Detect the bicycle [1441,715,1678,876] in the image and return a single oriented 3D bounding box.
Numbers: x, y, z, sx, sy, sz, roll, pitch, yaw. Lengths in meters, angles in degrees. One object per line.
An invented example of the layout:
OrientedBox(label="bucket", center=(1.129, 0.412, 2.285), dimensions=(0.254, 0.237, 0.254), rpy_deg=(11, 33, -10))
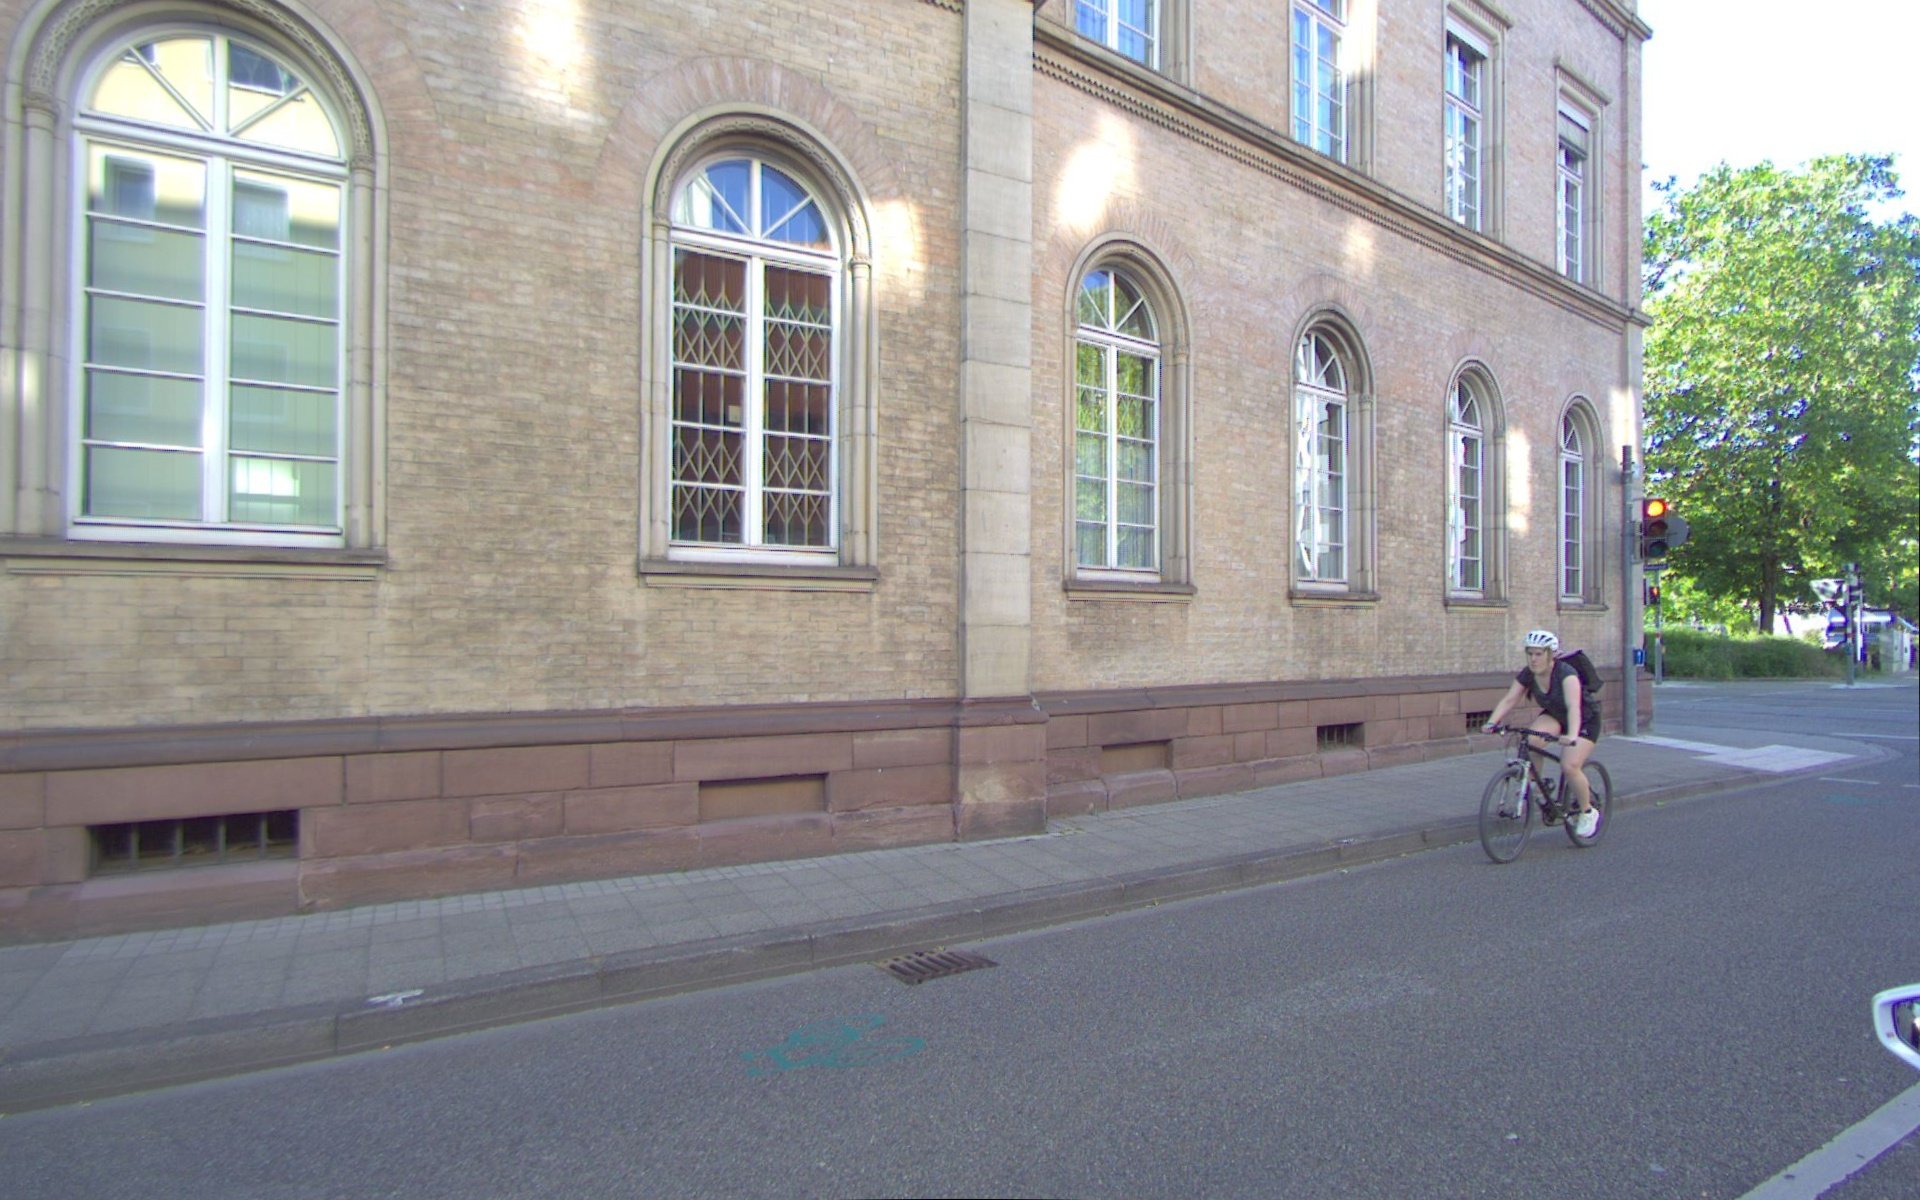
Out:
OrientedBox(label="bicycle", center=(4.334, 1.345, 7.231), dimensions=(1.746, 0.936, 0.682), rpy_deg=(1, -4, -30))

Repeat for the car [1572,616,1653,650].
OrientedBox(label="car", center=(47.849, 2.468, 73.732), dimensions=(2.056, 2.423, 4.521), rpy_deg=(2, -3, -38))

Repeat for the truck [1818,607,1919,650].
OrientedBox(label="truck", center=(53.775, 1.663, 59.079), dimensions=(2.069, 2.431, 4.790), rpy_deg=(1, -1, -39))

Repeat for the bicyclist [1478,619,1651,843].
OrientedBox(label="bicyclist", center=(4.350, 0.902, 7.245), dimensions=(0.861, 1.495, 0.682), rpy_deg=(1, -4, -30))
